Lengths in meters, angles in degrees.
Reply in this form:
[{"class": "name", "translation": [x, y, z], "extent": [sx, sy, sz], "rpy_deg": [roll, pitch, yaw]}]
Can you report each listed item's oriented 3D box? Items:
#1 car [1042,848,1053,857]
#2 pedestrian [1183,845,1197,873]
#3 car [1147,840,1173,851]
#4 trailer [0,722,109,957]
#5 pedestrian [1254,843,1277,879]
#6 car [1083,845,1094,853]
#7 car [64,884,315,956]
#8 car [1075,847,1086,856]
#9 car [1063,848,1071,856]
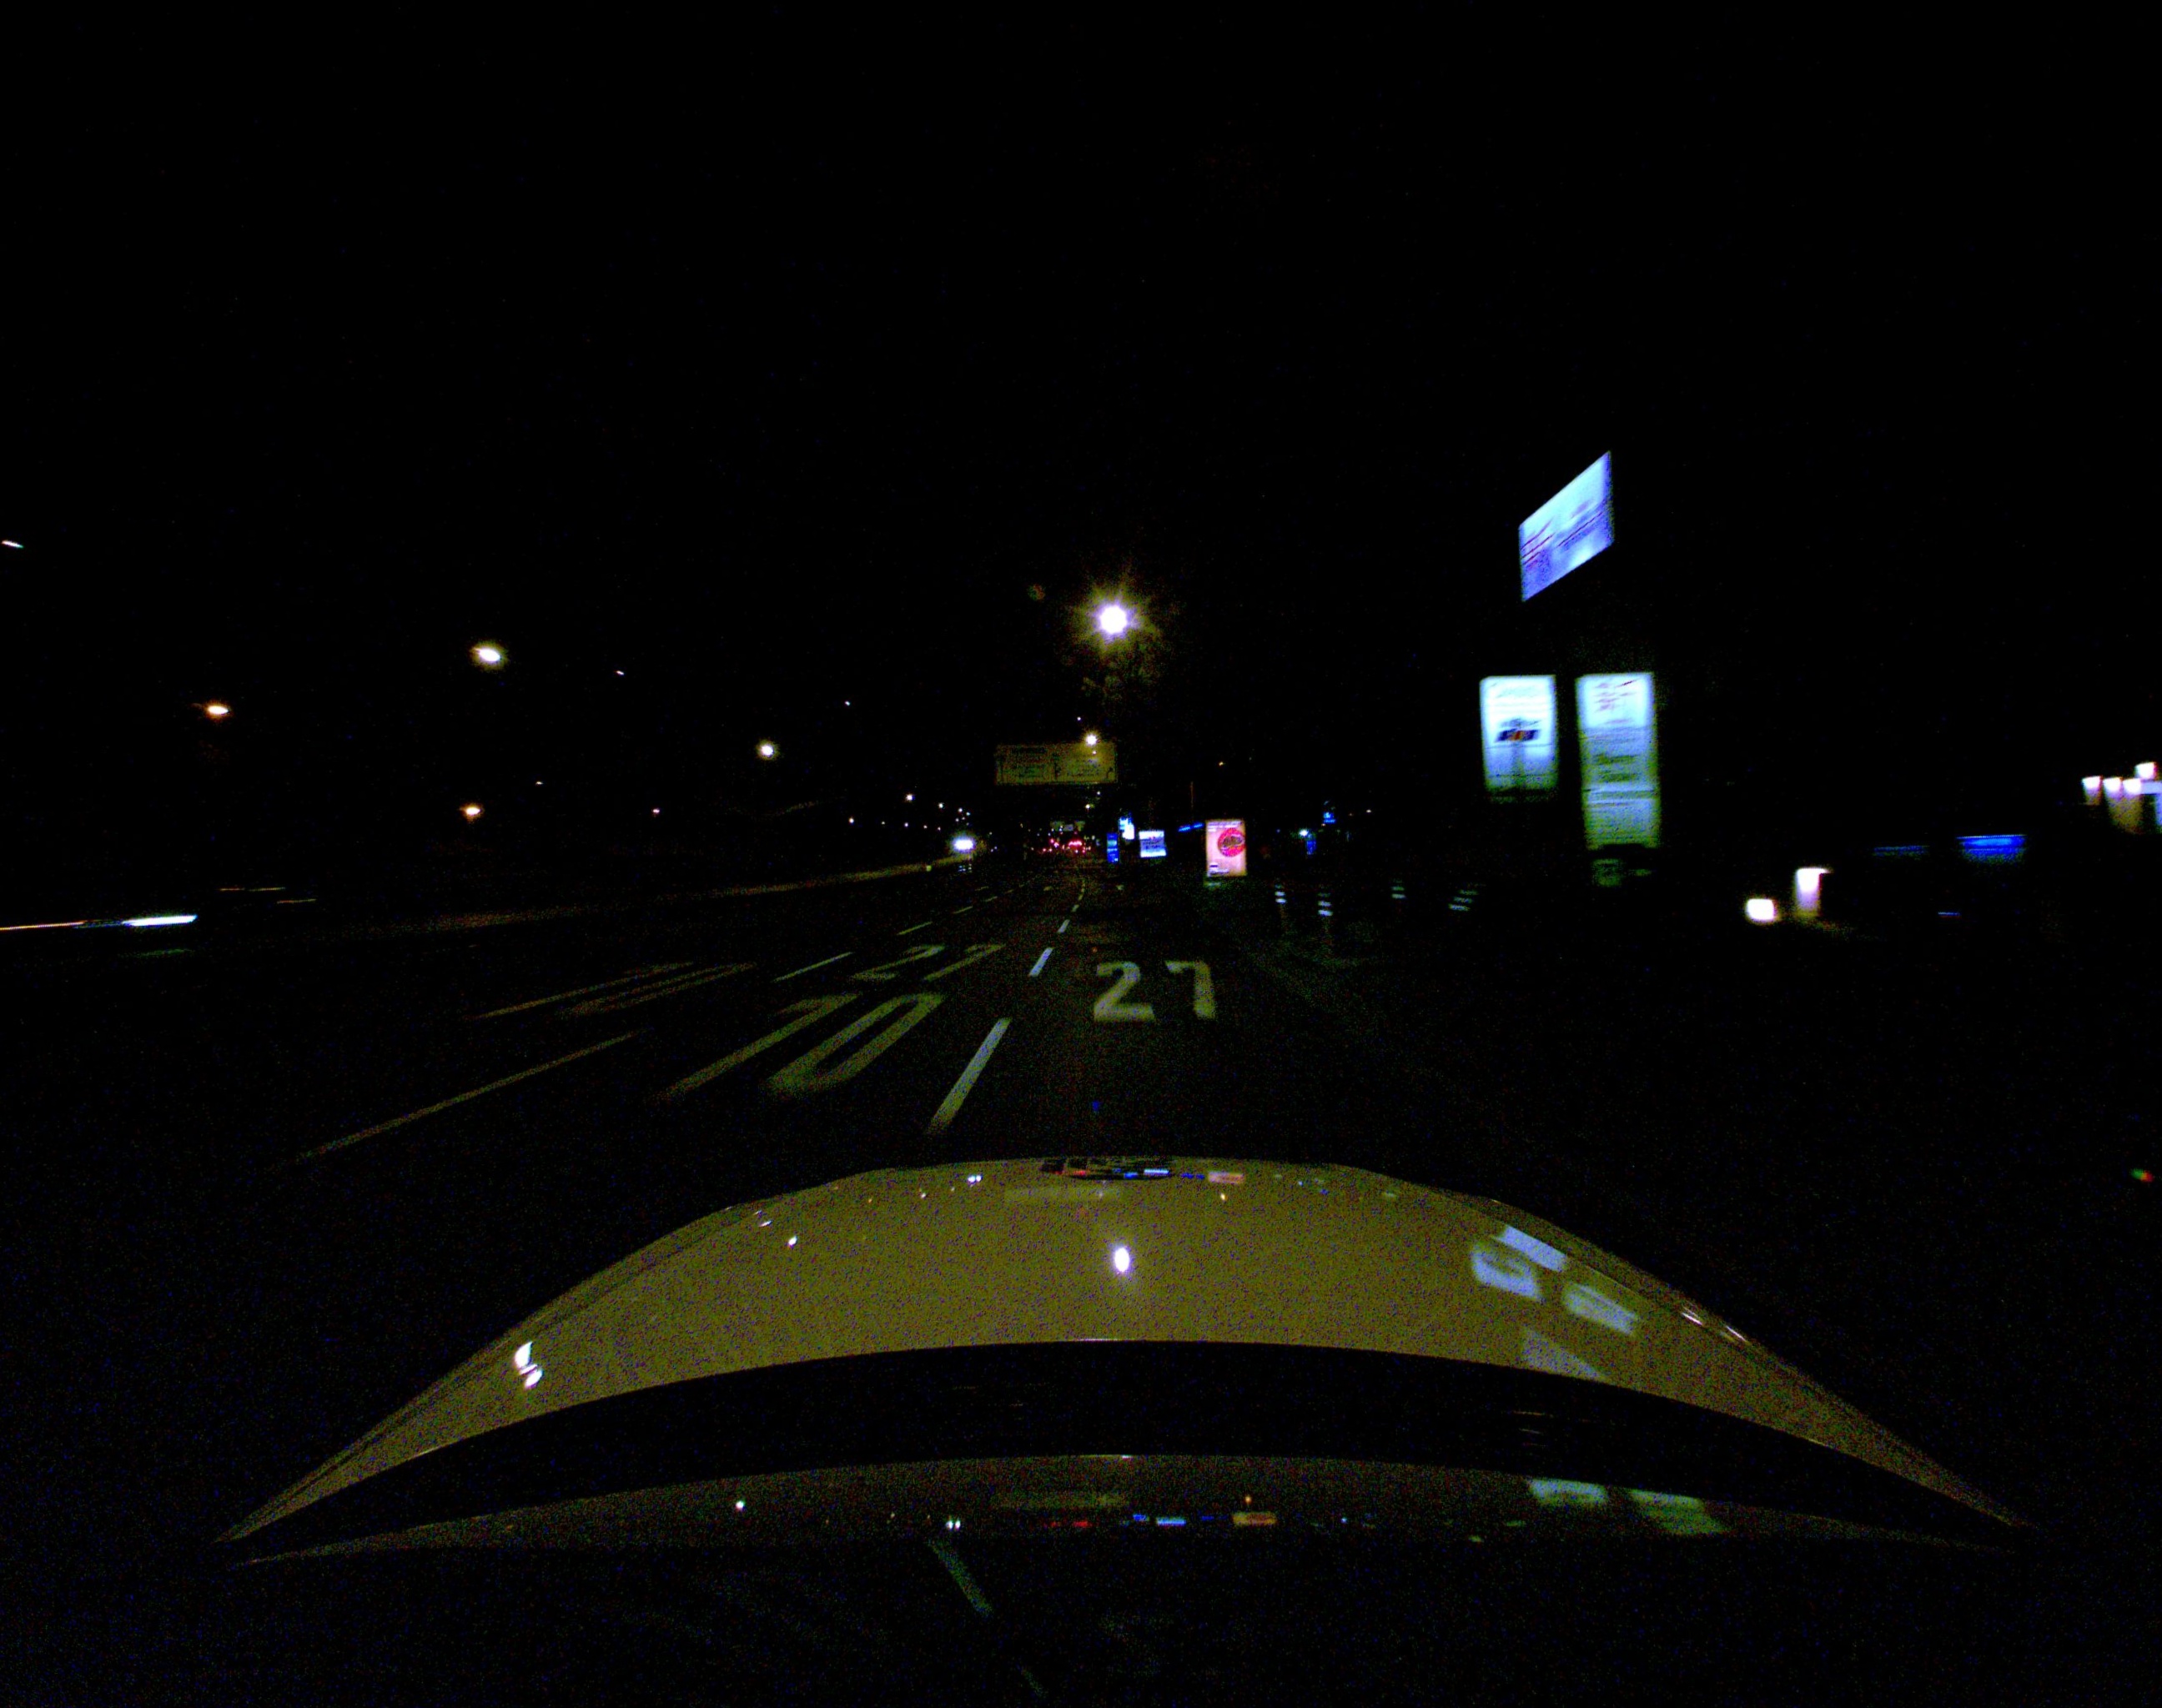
[{"class": "car", "translation": [-6.697, -0.333, 163.851], "extent": [1.961, 1.711, 4.001], "rpy_deg": [0, -1, 1]}, {"class": "pedestrian", "translation": [7.664, 0.367, 57.281], "extent": [0.800, 1.913, 0.795], "rpy_deg": [-4, 0, 8]}, {"class": "car", "translation": [13.368, -1.467, 137.596], "extent": [4.106, 1.522, 1.822], "rpy_deg": [-3, -1, 0]}, {"class": "trailer", "translation": [-20.208, -0.268, 11.129], "extent": [3.684, 3.990, 8.393], "rpy_deg": [0, -1, 0]}, {"class": "pedestrian", "translation": [8.956, 0.324, 39.551], "extent": [0.850, 1.707, 0.957], "rpy_deg": [1, -1, 0]}, {"class": "car", "translation": [1.821, -1.214, 200.155], "extent": [2.642, 2.014, 5.300], "rpy_deg": [0, -1, 1]}, {"class": "car", "translation": [-23.337, 1.648, 21.619], "extent": [1.980, 1.481, 4.203], "rpy_deg": [-3, 0, 0]}, {"class": "car", "translation": [-0.126, -0.449, 157.718], "extent": [1.961, 1.711, 4.001], "rpy_deg": [0, -1, 1]}, {"class": "car", "translation": [-3.337, -0.506, 193.607], "extent": [1.776, 1.711, 4.001], "rpy_deg": [0, -1, 1]}]
